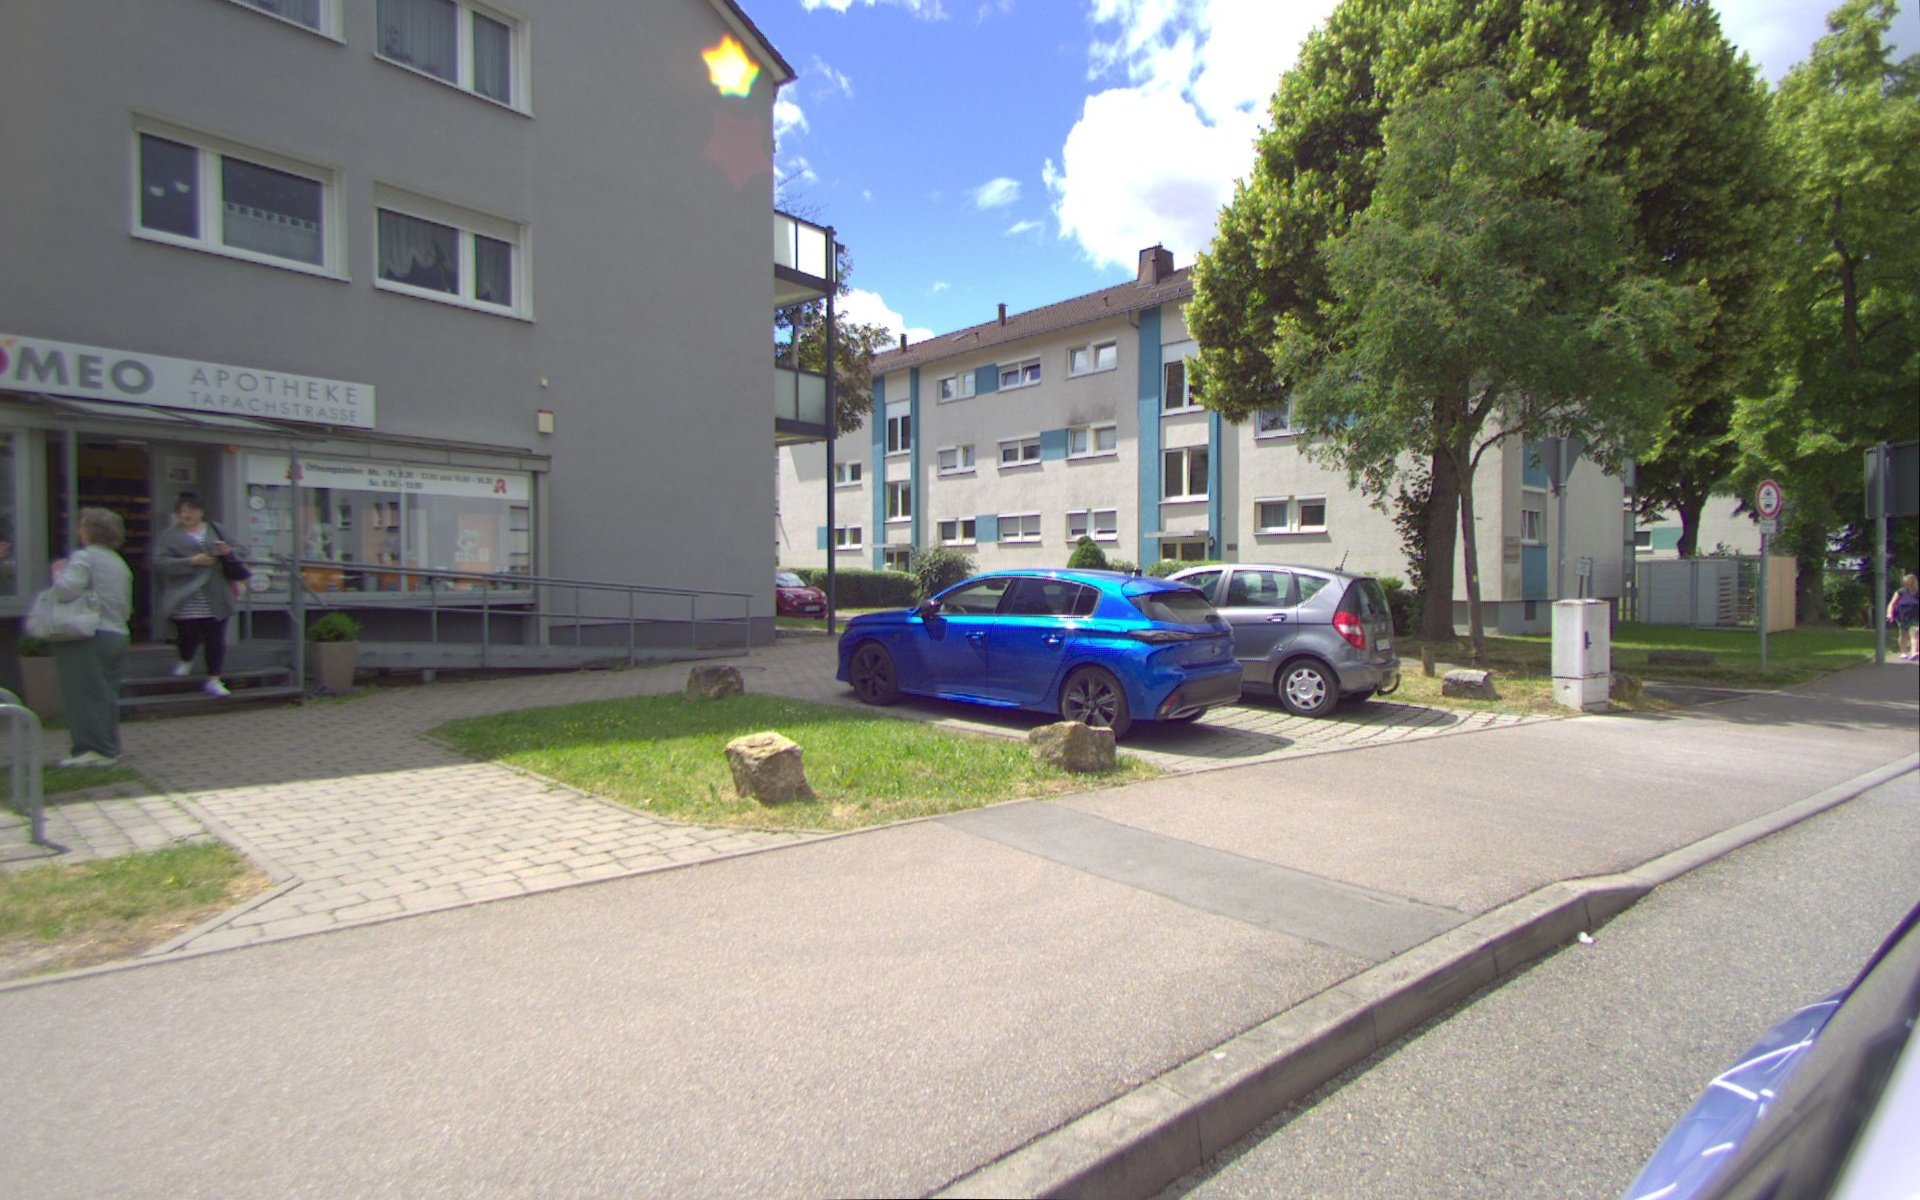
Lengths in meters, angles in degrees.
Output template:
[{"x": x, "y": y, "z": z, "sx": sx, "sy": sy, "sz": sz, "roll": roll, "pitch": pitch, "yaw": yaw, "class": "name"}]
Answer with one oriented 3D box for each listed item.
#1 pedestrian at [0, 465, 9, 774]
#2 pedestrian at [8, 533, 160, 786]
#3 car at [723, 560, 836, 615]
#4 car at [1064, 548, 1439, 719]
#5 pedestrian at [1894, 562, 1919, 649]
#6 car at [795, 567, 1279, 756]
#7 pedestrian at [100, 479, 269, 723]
[{"x": -6.884, "y": 0.130, "z": 6.508, "sx": 0.652, "sy": 2.038, "sz": 1.032, "roll": 2, "pitch": 2, "yaw": 39, "class": "pedestrian"}, {"x": -5.800, "y": 0.349, "z": 6.702, "sx": 0.741, "sy": 1.548, "sz": 0.681, "roll": 2, "pitch": 2, "yaw": 43, "class": "pedestrian"}, {"x": -5.403, "y": -0.352, "z": 30.007, "sx": 1.699, "sy": 1.521, "sz": 3.879, "roll": -1, "pitch": 1, "yaw": -37, "class": "car"}, {"x": 3.352, "y": 0.249, "z": 11.943, "sx": 3.726, "sy": 1.575, "sz": 2.002, "roll": 5, "pitch": 4, "yaw": 41, "class": "car"}, {"x": 18.747, "y": 0.098, "z": 19.767, "sx": 0.682, "sy": 1.681, "sz": 0.819, "roll": 2, "pitch": 2, "yaw": 42, "class": "pedestrian"}, {"x": 0.609, "y": 0.418, "z": 10.078, "sx": 4.477, "sy": 1.258, "sz": 1.972, "roll": 5, "pitch": 4, "yaw": 39, "class": "car"}, {"x": -6.748, "y": -0.009, "z": 8.825, "sx": 0.836, "sy": 1.980, "sz": 0.932, "roll": 1, "pitch": 2, "yaw": 31, "class": "pedestrian"}]
